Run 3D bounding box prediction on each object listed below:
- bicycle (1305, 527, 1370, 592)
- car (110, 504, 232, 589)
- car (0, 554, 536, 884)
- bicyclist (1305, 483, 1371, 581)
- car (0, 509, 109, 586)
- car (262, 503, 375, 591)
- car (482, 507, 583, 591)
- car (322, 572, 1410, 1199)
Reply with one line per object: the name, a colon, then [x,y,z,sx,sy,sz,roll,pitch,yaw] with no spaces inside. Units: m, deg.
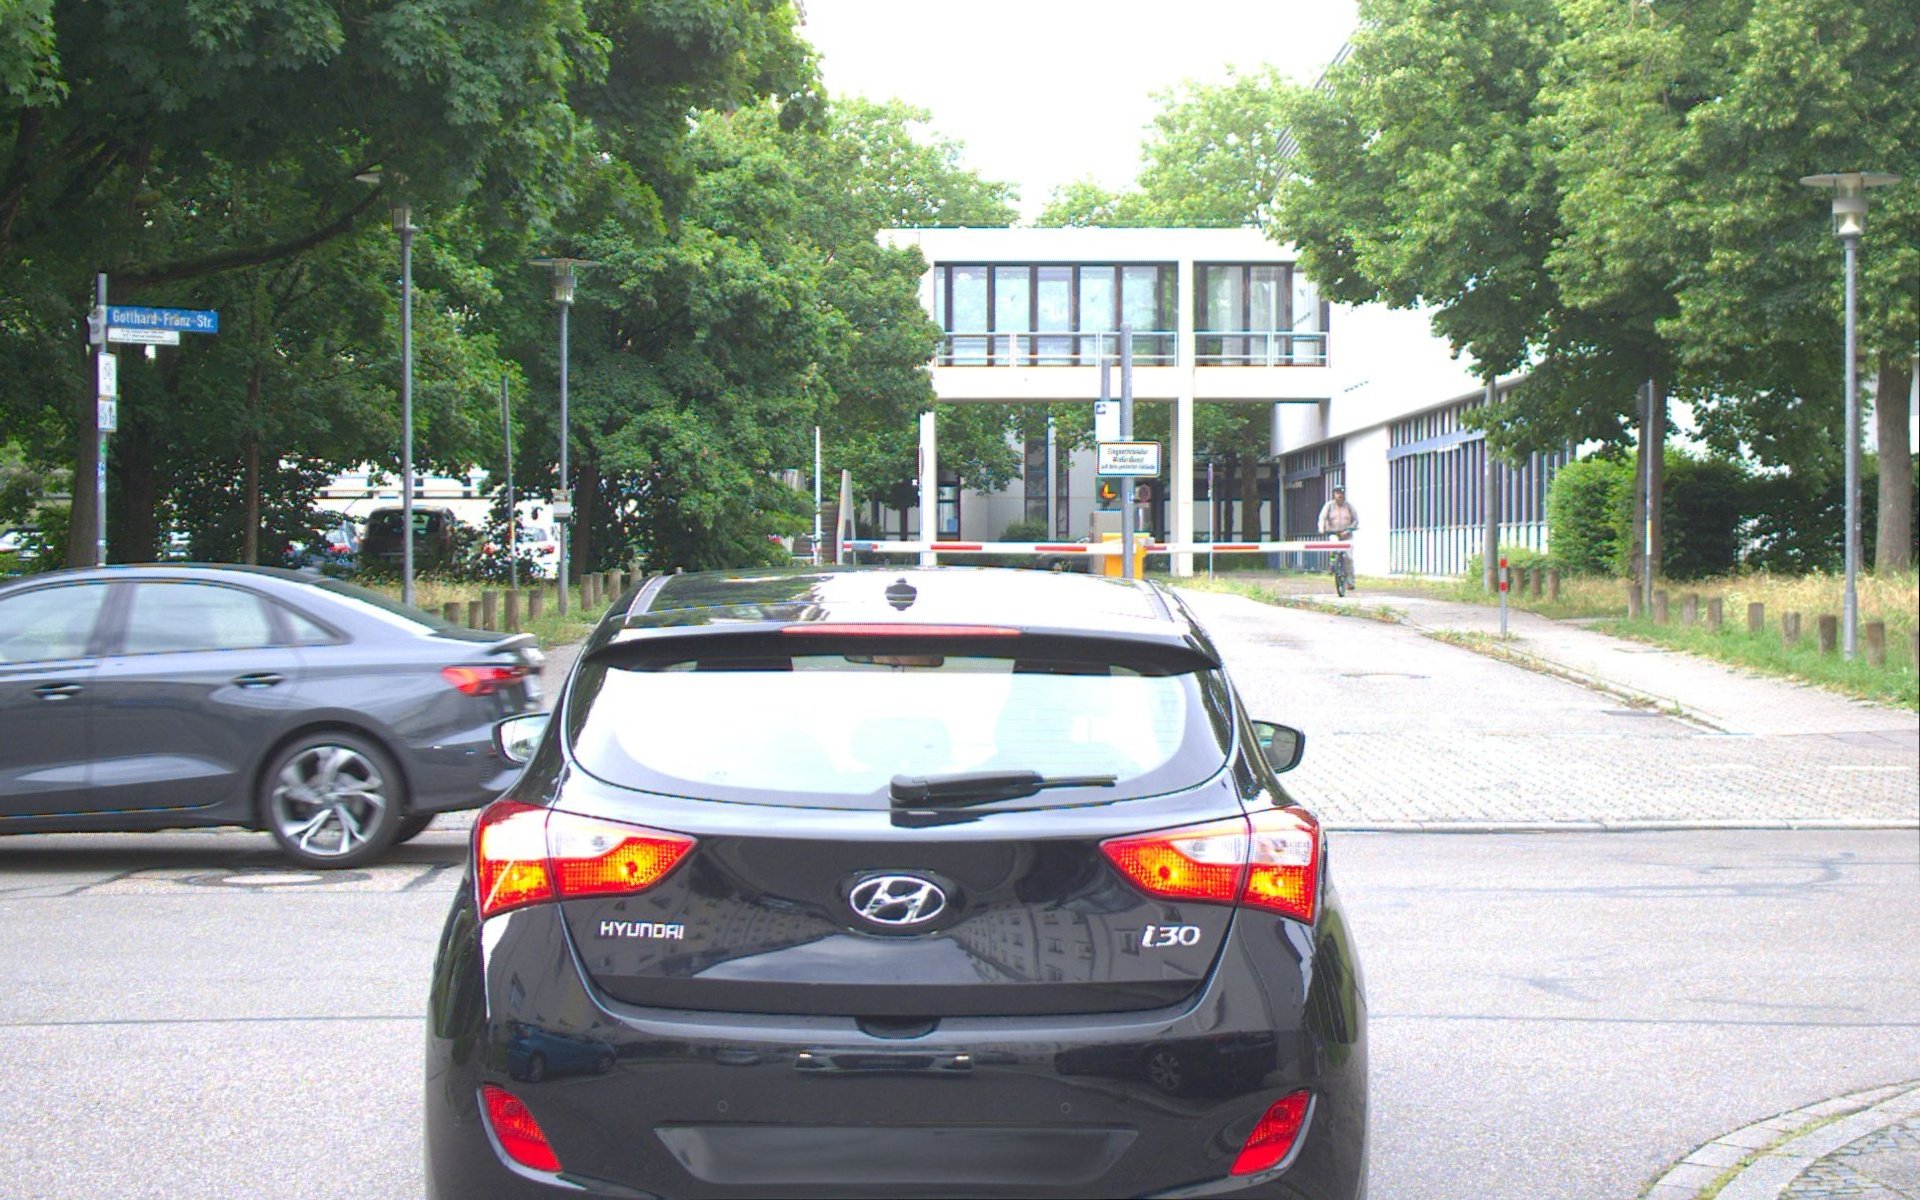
bicycle: [6.401,-0.701,58.370,0.866,1.071,2.142,0,2,0]
car: [-16.889,-1.127,73.757,1.993,1.722,4.000,0,-1,-5]
car: [-4.152,0.522,16.351,4.103,1.457,1.871,0,1,-2]
bicyclist: [6.400,-1.157,58.266,1.017,1.639,0.923,0,1,0]
car: [-19.611,-1.139,73.813,1.993,1.612,4.001,0,1,-5]
car: [-13.786,-1.115,74.101,1.993,1.788,4.000,0,-1,-5]
car: [-9.191,-1.092,74.186,1.993,1.756,4.001,0,0,-5]
car: [-0.256,0.680,7.756,1.846,1.457,3.828,0,1,-3]
